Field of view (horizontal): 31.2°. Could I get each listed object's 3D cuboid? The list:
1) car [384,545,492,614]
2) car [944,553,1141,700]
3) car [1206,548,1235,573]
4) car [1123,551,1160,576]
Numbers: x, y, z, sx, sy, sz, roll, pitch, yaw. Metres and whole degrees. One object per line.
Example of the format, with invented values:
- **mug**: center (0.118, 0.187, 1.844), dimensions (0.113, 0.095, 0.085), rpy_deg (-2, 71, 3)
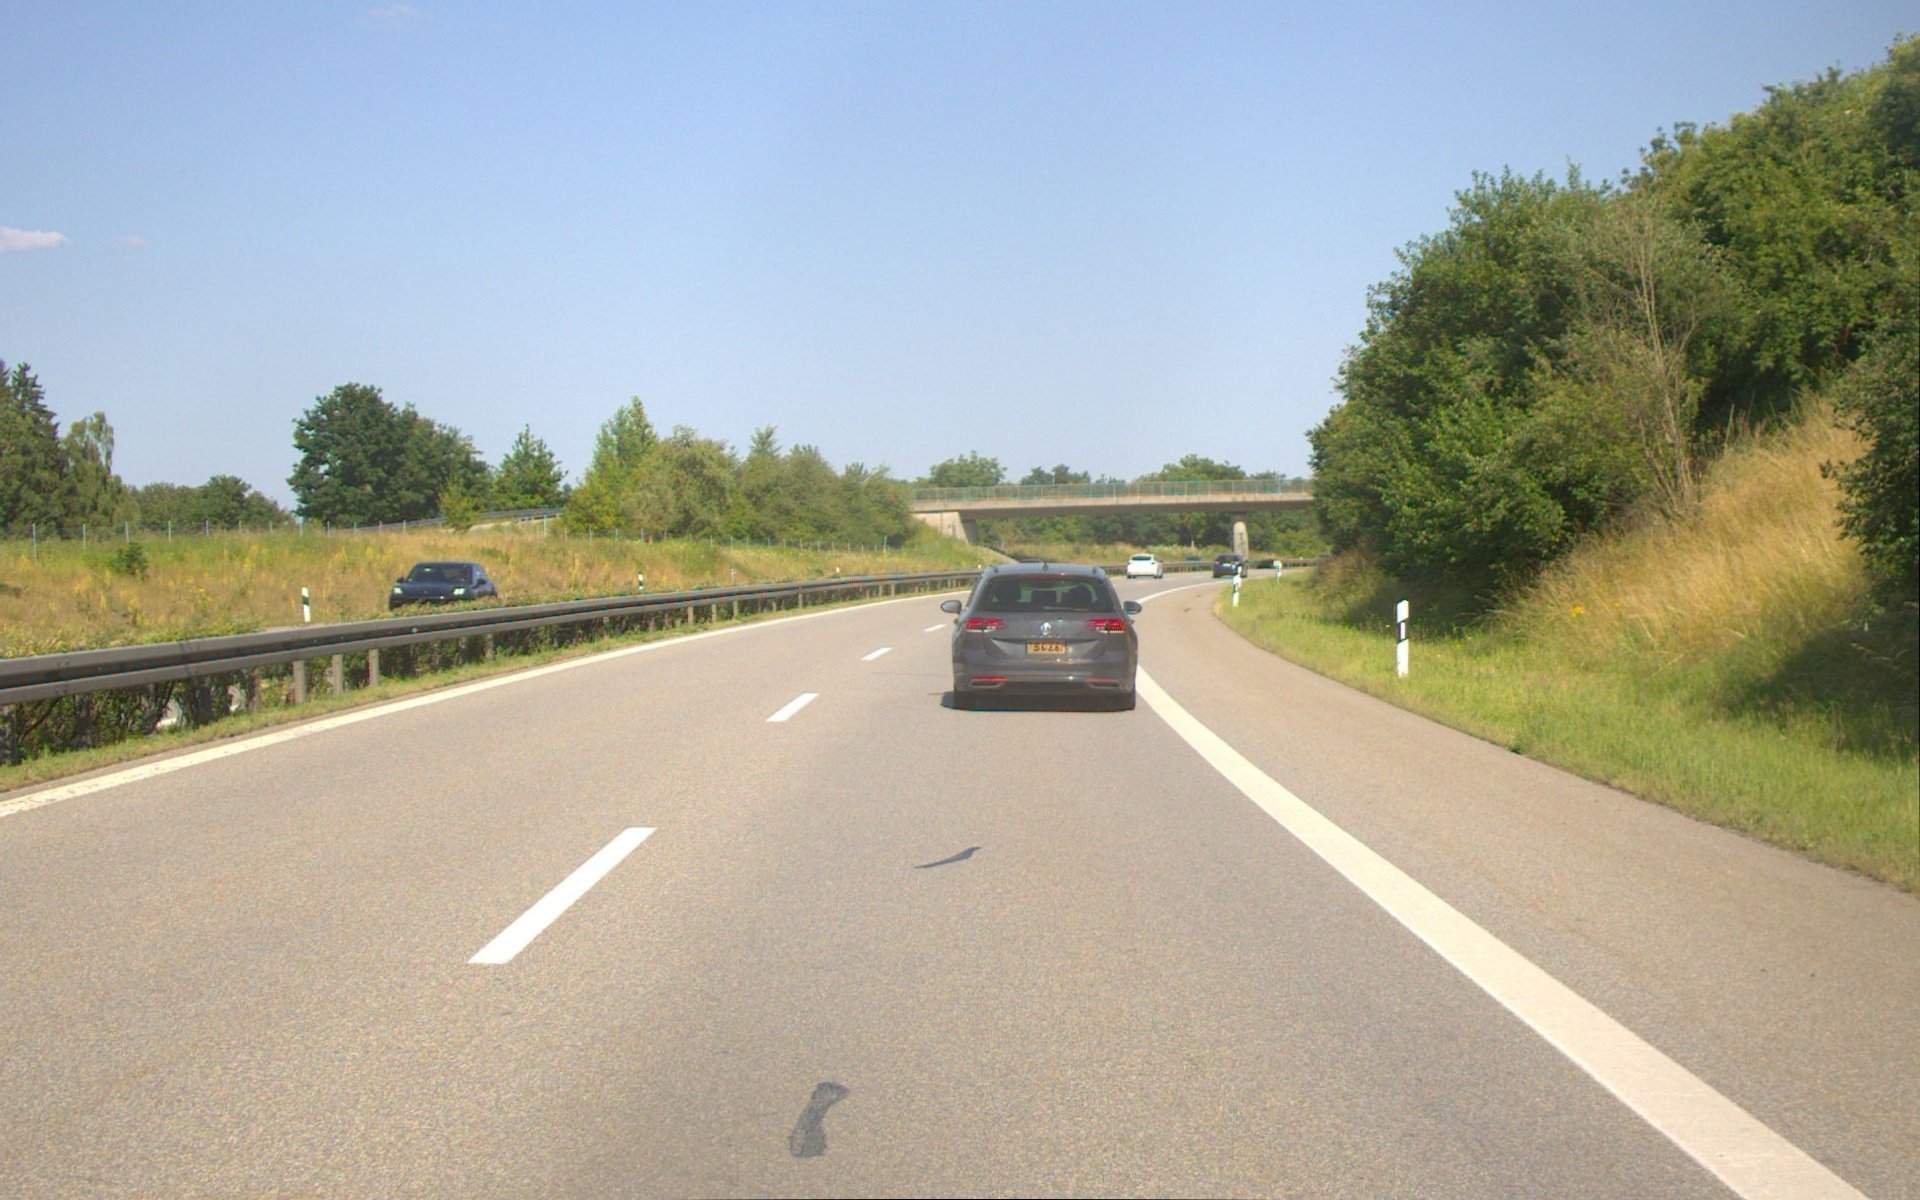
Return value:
- **car**: center (-12.523, -0.517, 82.710), dimensions (1.831, 1.547, 4.466), rpy_deg (0, 2, 1)
- **car**: center (0.878, 0.231, 34.257), dimensions (1.791, 1.340, 4.000), rpy_deg (1, 1, 3)
- **car**: center (15.769, -2.382, 208.207), dimensions (1.711, 1.382, 3.355), rpy_deg (1, 0, 4)
- **car**: center (10.482, -2.098, 198.072), dimensions (2.007, 1.340, 3.999), rpy_deg (1, 0, 5)
